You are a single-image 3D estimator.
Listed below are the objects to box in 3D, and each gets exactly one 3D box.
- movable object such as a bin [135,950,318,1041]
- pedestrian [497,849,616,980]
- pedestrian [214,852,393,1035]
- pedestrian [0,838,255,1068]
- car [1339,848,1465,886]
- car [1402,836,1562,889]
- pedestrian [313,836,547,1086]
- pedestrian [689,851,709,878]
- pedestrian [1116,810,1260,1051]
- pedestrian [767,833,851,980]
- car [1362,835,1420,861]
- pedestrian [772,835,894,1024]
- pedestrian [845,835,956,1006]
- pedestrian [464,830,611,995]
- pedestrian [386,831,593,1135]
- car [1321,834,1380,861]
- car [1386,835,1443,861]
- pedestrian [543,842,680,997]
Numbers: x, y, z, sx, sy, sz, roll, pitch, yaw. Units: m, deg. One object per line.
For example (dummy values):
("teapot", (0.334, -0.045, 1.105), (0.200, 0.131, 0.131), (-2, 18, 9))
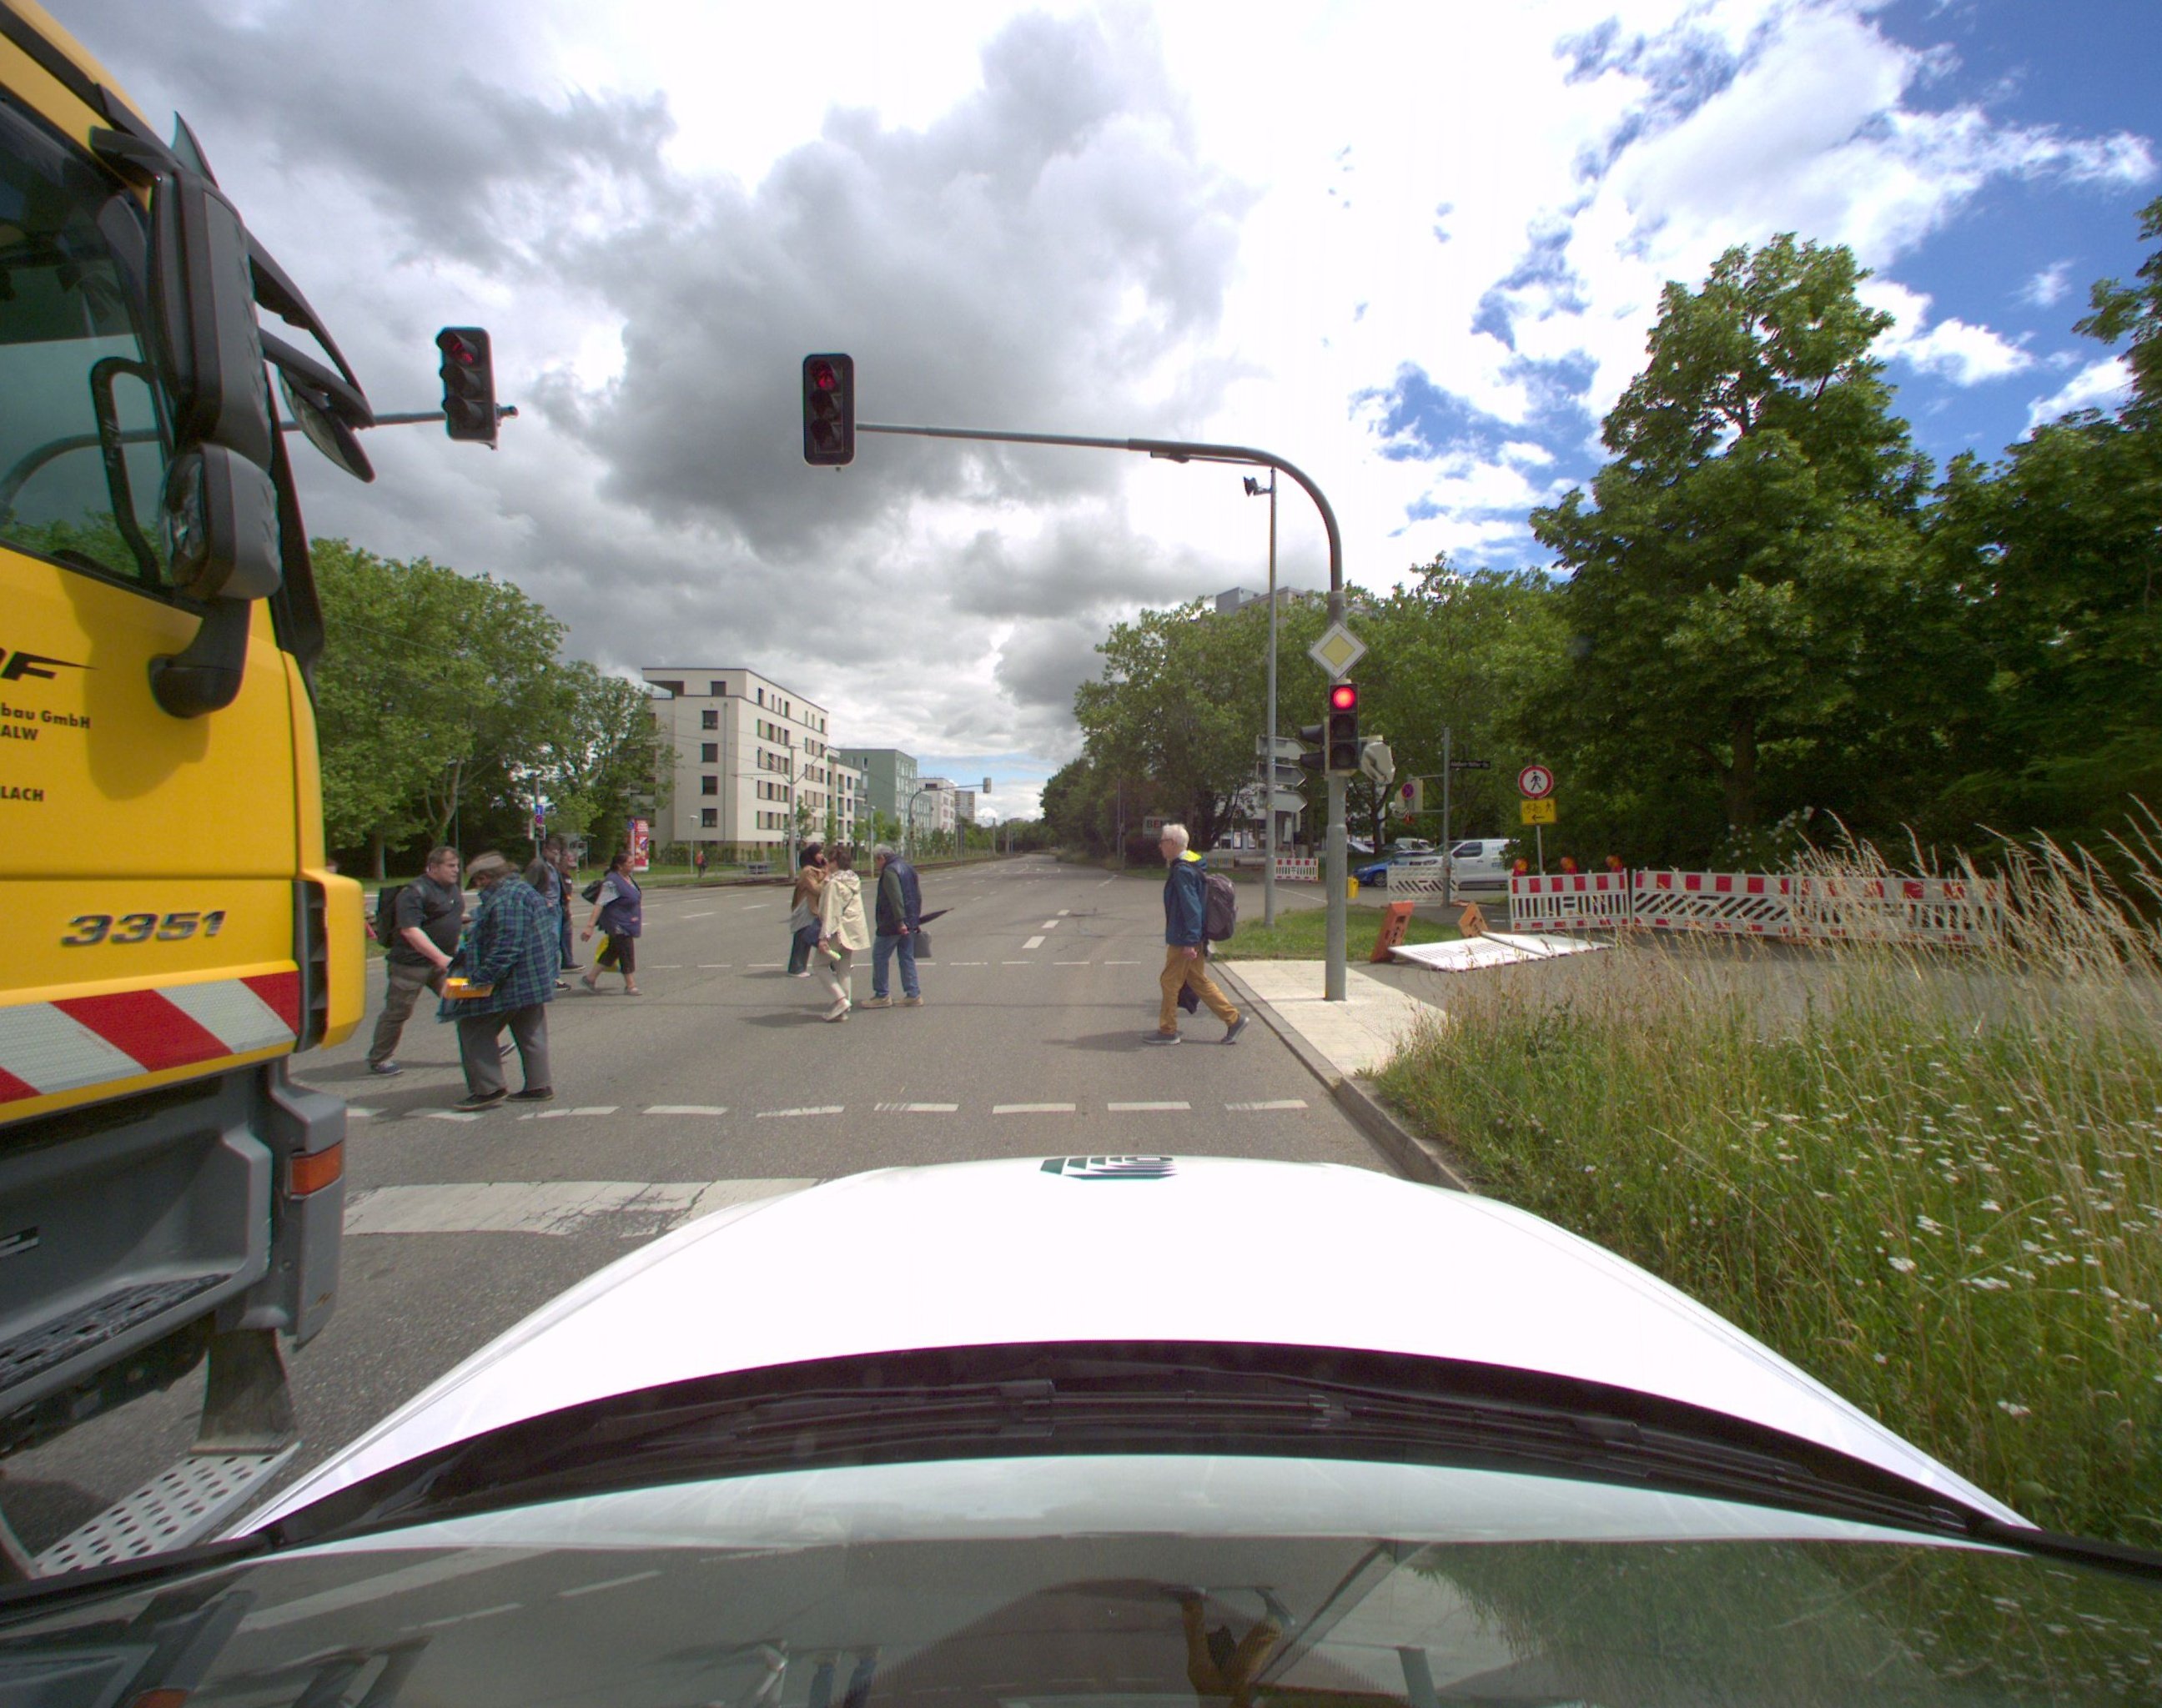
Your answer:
("movable object such as a bin", (-7.585, 1.242, 7.268), (0.792, 0.662, 0.778), (-1, 0, 2))
("pedestrian", (-6.681, 0.735, 10.427), (0.889, 1.596, 0.909), (-1, 0, 2))
("pedestrian", (-6.970, 0.763, 7.342), (0.877, 1.554, 0.747), (-1, 0, 2))
("pedestrian", (-7.424, 0.711, 6.338), (1.017, 1.648, 0.930), (-1, 0, 2))
("car", (13.147, 0.510, 33.556), (4.461, 1.486, 1.989), (-1, 0, 0))
("car", (14.915, 0.301, 30.458), (5.063, 1.874, 1.947), (-1, 0, -2))
("pedestrian", (-4.625, 0.708, 5.867), (0.956, 1.648, 0.880), (-1, 0, -1))
("pedestrian", (-21.638, 0.591, 46.142), (0.827, 1.516, 0.636), (-1, 0, 1))
("pedestrian", (0.895, 0.563, 6.595), (1.002, 1.774, 0.953), (-1, 0, 16))
("pedestrian", (-3.374, 0.623, 10.168), (0.780, 1.742, 0.828), (-1, 0, -2))
("car", (24.599, -0.493, 64.734), (2.006, 2.013, 3.962), (-1, 0, -29))
("pedestrian", (-2.242, 0.652, 7.436), (0.818, 1.640, 0.735), (-1, 0, 6))
("pedestrian", (-1.792, 0.633, 8.195), (0.864, 1.634, 0.767), (-1, 0, 7))
("pedestrian", (-6.126, 0.627, 9.239), (0.998, 1.773, 0.930), (-1, 0, 2))
("pedestrian", (-3.559, 0.708, 4.981), (0.825, 1.671, 0.728), (-1, 0, -19))
("car", (20.568, -0.485, 62.253), (2.006, 2.013, 3.962), (-1, 0, -29))
("car", (27.314, -0.497, 66.867), (2.006, 2.013, 3.962), (-1, 0, -29))
("pedestrian", (-5.141, 0.683, 8.985), (0.908, 1.607, 0.931), (-1, 0, 6))
